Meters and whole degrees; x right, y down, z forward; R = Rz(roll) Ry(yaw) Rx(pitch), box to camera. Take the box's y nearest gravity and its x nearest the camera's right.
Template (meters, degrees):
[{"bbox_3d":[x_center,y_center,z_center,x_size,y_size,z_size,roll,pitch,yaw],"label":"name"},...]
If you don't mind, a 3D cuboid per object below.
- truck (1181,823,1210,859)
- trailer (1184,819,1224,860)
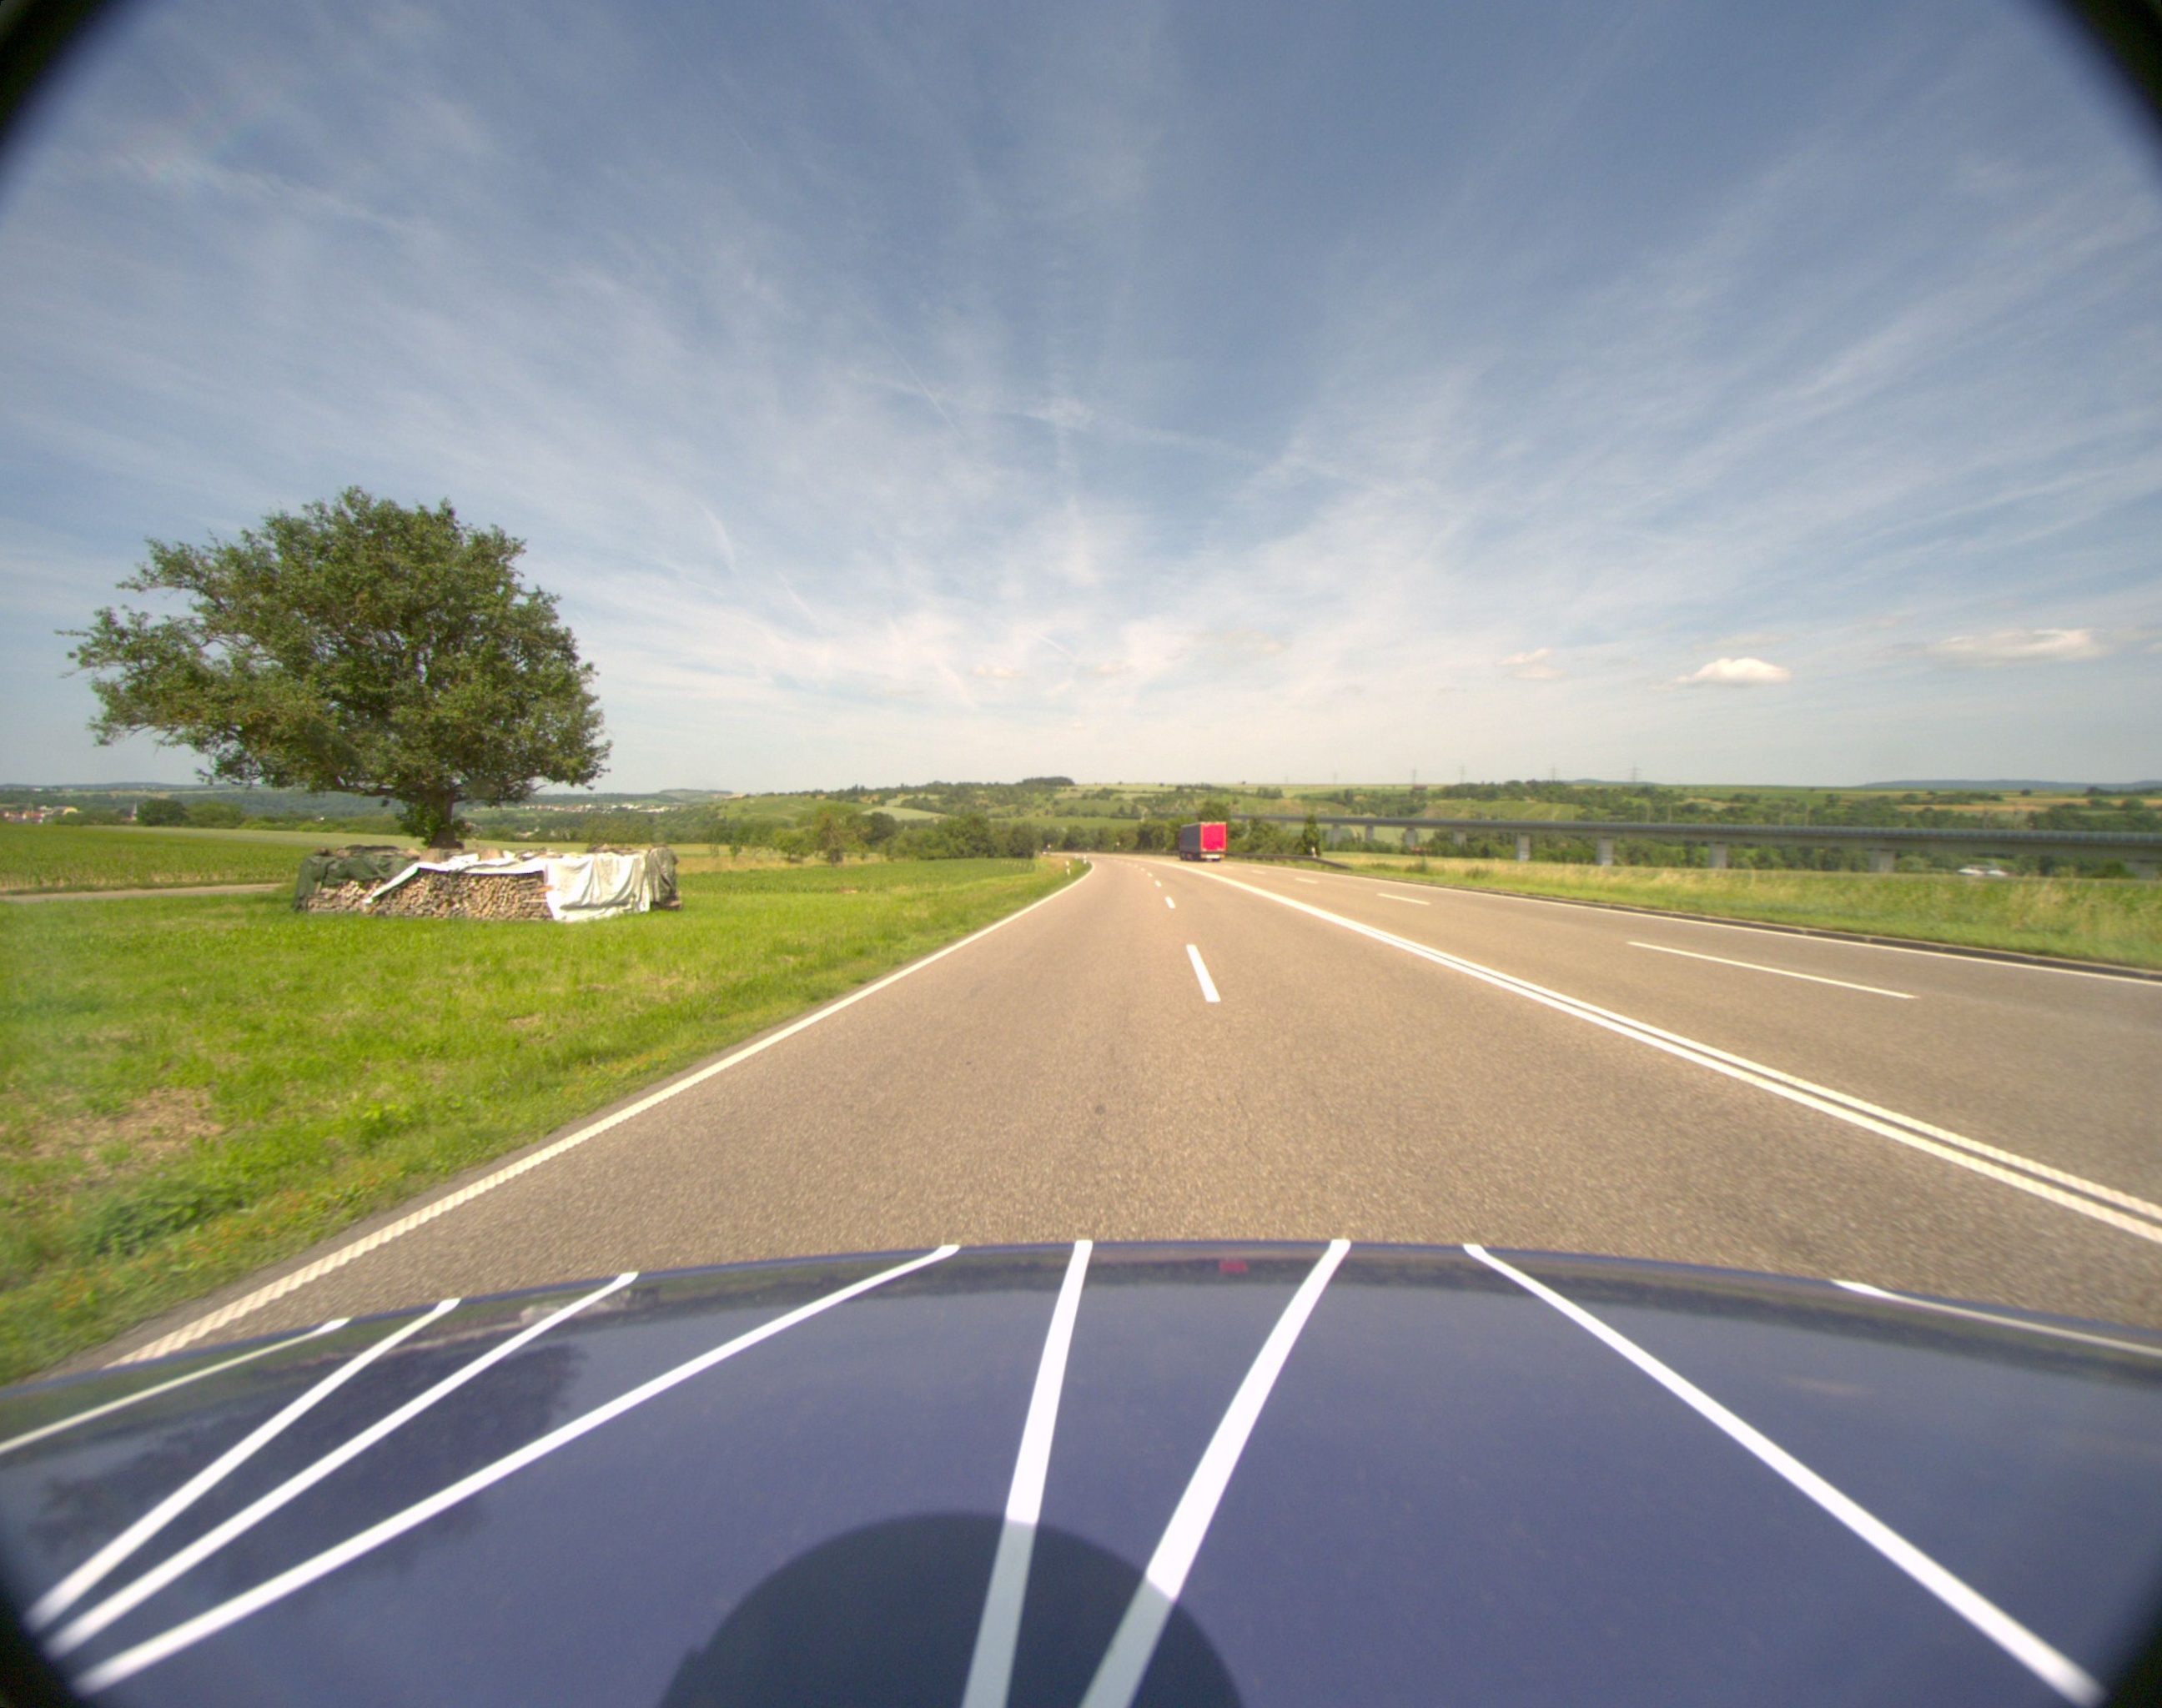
[{"bbox_3d":[13.496,-1.565,89.990,2.623,4.078,6.088,0,1,2],"label":"truck"},{"bbox_3d":[13.283,-1.547,83.175,2.551,4.078,13.582,0,1,2],"label":"trailer"}]
